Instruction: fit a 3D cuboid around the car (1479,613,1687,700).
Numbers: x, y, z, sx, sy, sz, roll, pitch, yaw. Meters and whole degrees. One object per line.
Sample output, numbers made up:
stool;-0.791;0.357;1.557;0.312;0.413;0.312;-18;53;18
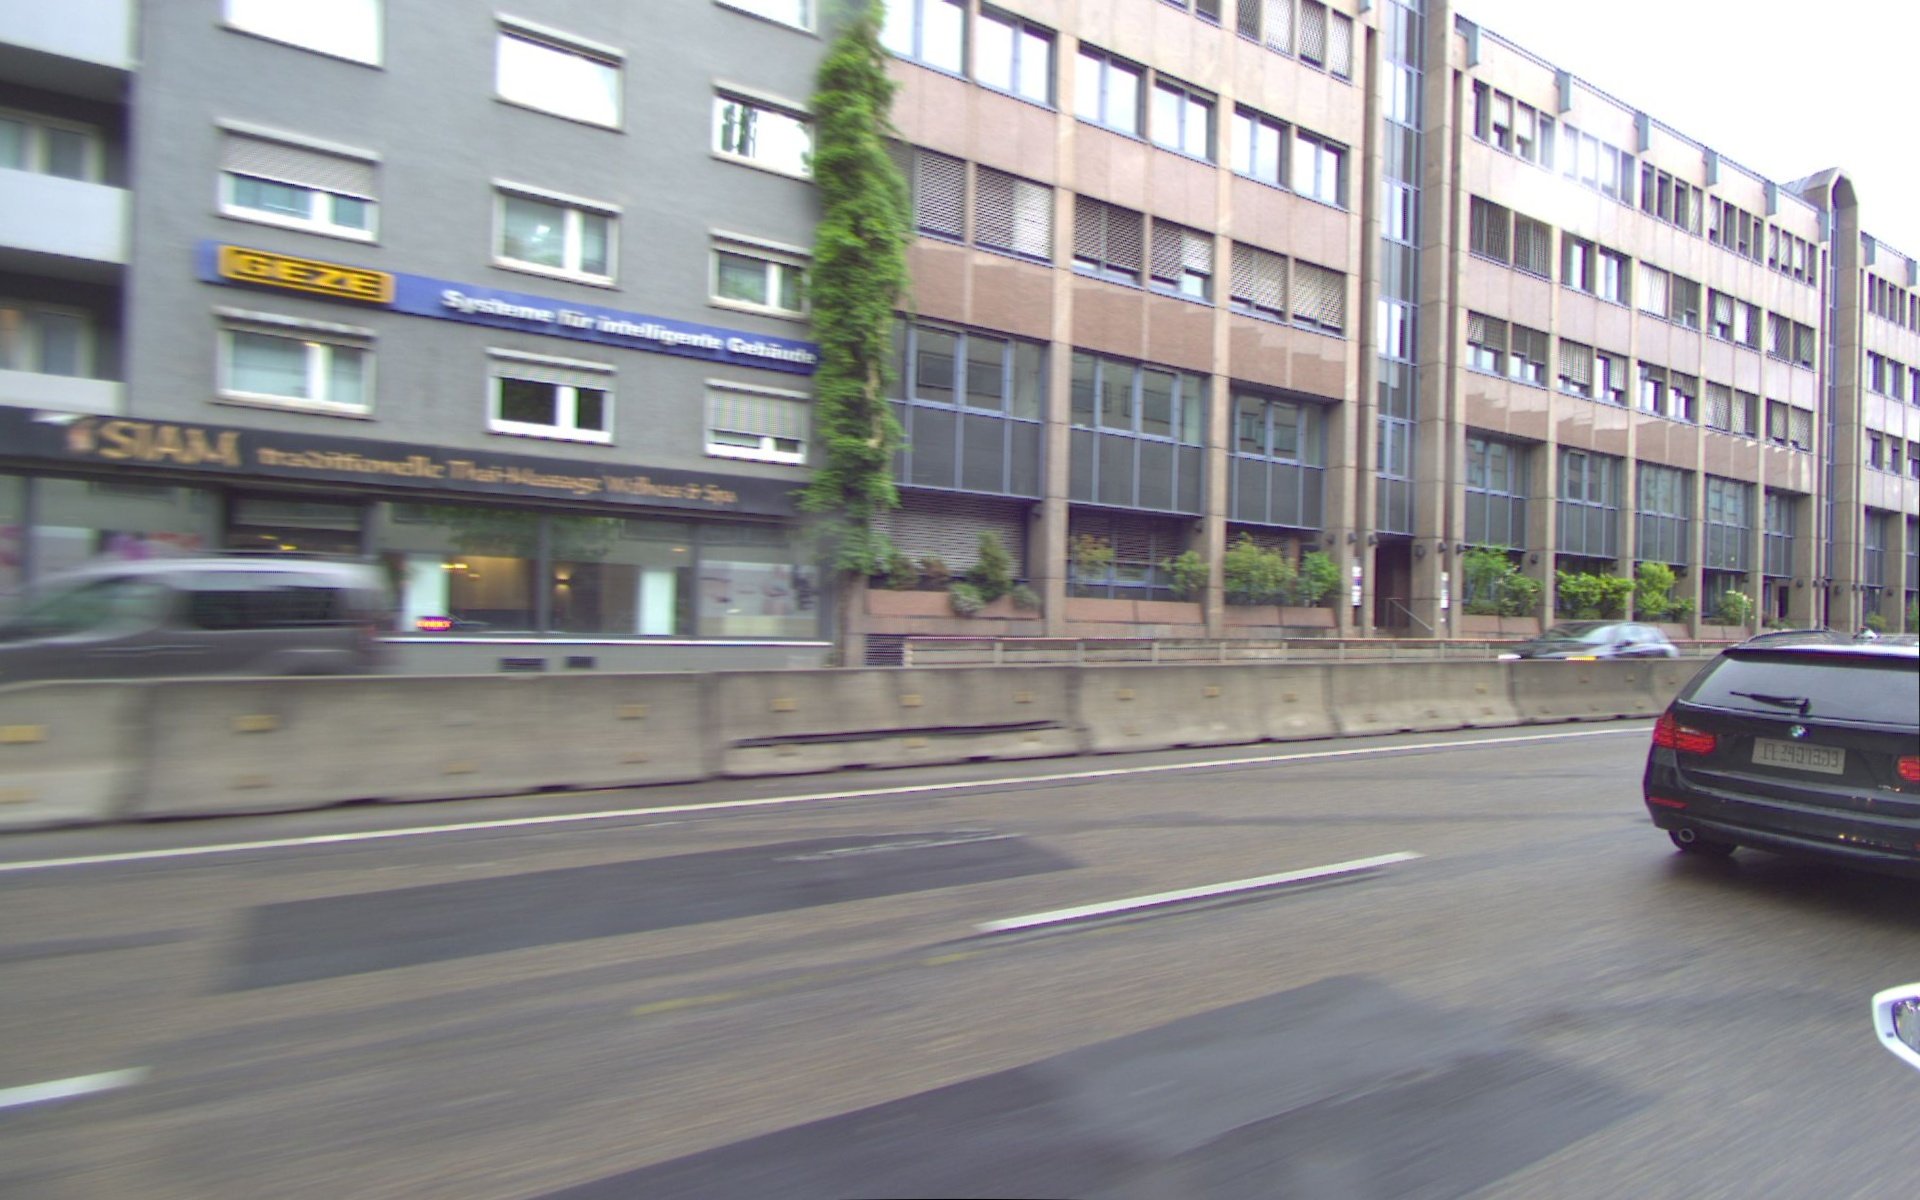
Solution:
car;12.461;1.090;20.046;4.183;1.553;1.851;2;-1;-31

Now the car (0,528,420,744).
car;-7.638;0.329;9.524;4.373;1.793;1.713;2;-1;-30

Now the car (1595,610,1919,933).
car;6.104;0.847;6.224;4.560;1.445;1.782;2;0;-31
